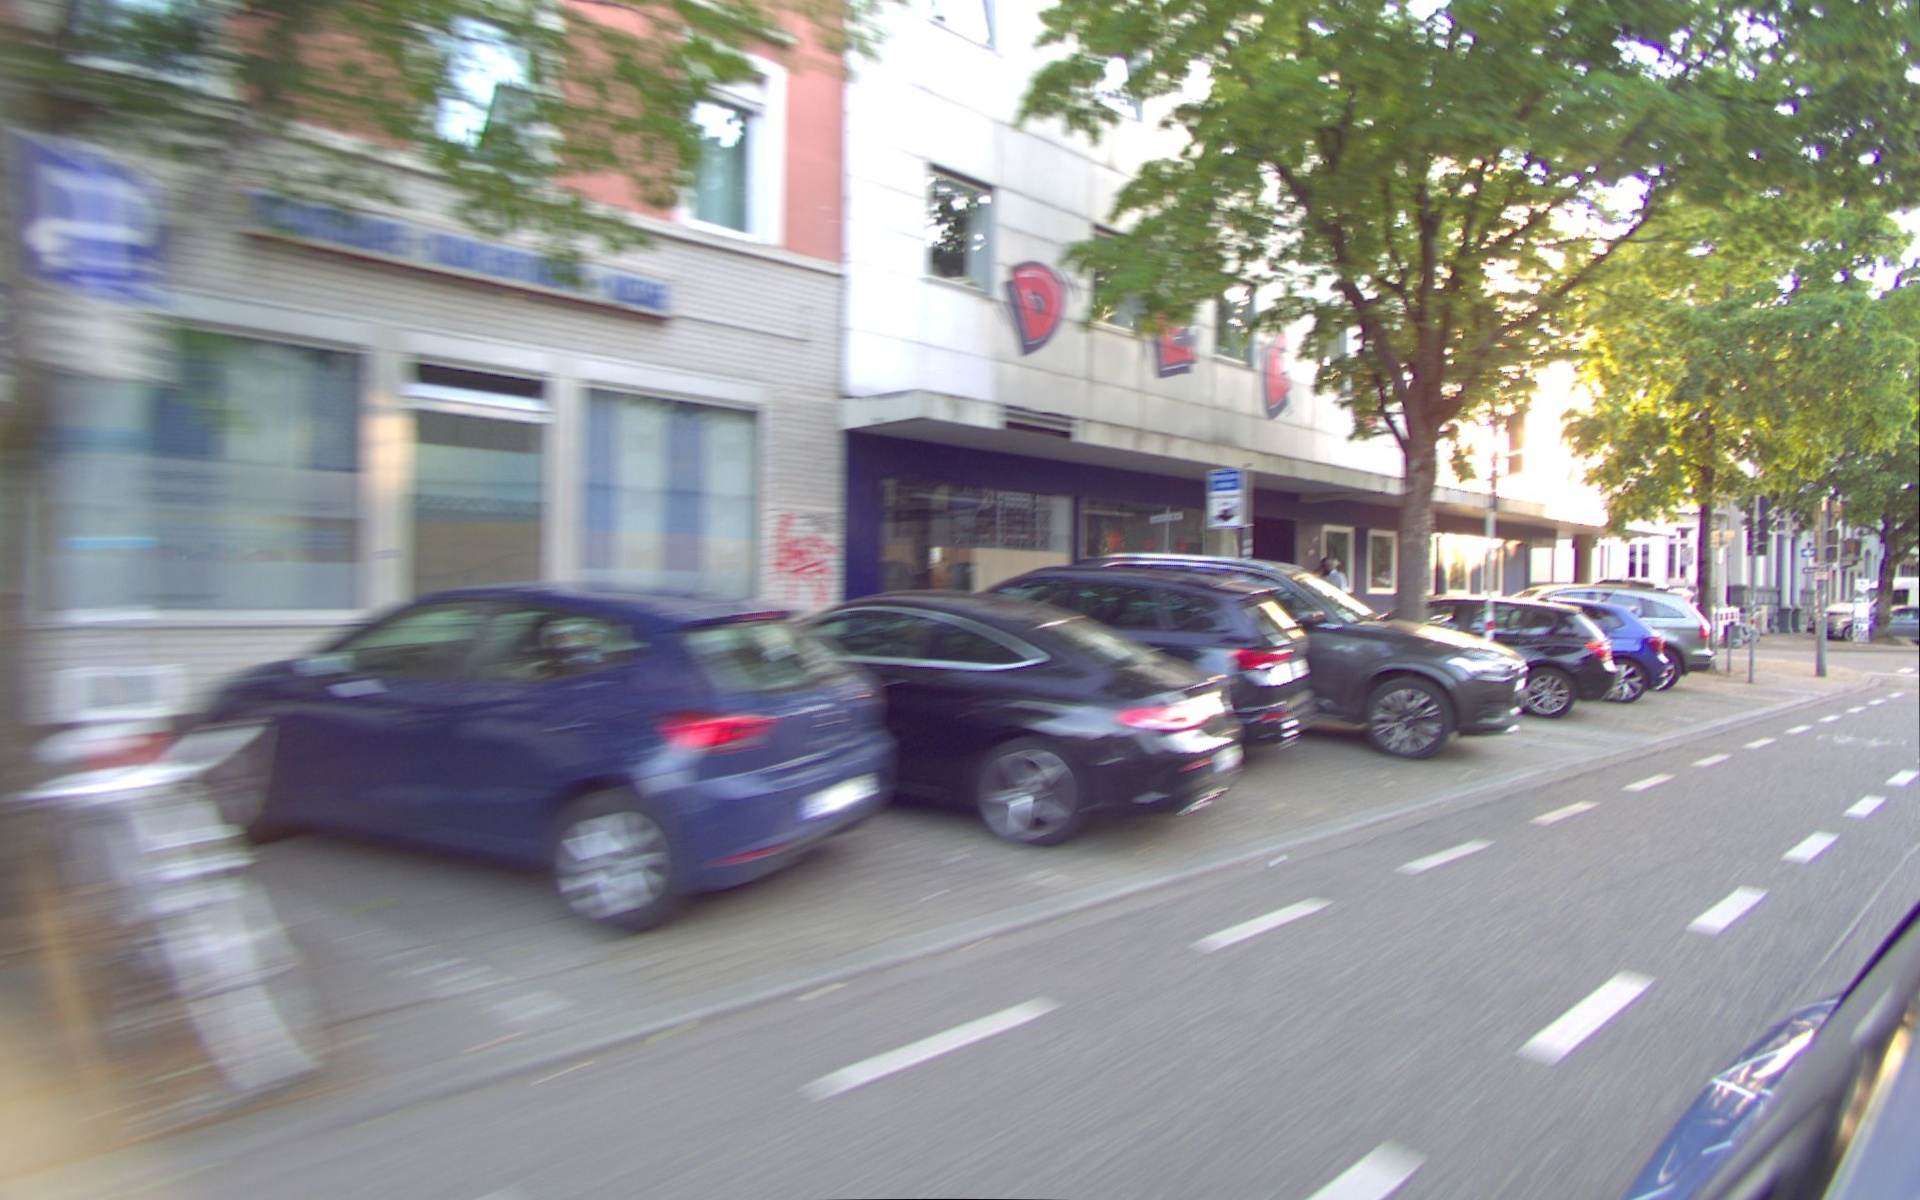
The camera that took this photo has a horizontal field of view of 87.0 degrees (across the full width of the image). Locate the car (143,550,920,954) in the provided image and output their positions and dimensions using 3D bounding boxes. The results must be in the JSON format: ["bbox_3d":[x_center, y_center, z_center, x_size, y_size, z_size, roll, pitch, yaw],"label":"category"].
[{"bbox_3d":[-2.273,0.549,5.478,3.714,1.444,1.716,4,3,21],"label":"car"}]

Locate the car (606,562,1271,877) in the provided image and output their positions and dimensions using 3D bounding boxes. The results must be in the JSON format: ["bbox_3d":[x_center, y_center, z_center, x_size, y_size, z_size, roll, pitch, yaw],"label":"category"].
[{"bbox_3d":[-0.140,0.573,7.064,4.180,1.444,1.961,4,3,24],"label":"car"}]

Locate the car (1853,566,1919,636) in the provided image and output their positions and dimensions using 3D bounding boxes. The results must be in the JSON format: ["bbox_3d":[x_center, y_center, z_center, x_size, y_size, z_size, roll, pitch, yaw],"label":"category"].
[{"bbox_3d":[39.074,0.069,39.735,5.561,2.728,2.161,1,0,16],"label":"car"}]

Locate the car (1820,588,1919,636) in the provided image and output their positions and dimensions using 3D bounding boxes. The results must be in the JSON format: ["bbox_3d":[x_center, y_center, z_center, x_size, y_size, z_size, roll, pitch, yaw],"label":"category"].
[{"bbox_3d":[33.893,0.484,36.021,4.560,1.532,1.847,4,1,25],"label":"car"}]

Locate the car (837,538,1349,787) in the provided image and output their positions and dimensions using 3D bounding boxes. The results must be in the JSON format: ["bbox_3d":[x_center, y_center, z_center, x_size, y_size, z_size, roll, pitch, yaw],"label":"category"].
[{"bbox_3d":[1.139,0.370,9.302,4.196,1.669,1.953,4,3,33],"label":"car"}]

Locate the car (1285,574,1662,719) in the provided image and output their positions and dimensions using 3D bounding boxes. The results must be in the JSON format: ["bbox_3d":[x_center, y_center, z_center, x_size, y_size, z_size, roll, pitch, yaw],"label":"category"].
[{"bbox_3d":[6.613,0.500,13.526,4.121,1.482,1.957,4,3,23],"label":"car"}]

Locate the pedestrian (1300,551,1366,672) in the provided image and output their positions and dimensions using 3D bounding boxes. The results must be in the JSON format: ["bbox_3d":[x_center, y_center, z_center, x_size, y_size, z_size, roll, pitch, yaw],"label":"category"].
[{"bbox_3d":[6.437,0.178,17.465,0.772,2.009,0.693,1,3,-40],"label":"pedestrian"}]

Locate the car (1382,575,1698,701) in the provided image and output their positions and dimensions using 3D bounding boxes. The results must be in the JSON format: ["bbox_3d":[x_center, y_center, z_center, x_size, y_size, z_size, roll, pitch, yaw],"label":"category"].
[{"bbox_3d":[8.665,0.492,15.545,3.847,1.520,1.802,4,3,20],"label":"car"}]

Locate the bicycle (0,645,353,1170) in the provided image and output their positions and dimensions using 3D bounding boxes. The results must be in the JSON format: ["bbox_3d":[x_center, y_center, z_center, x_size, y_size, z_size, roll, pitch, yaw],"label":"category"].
[{"bbox_3d":[-2.633,0.800,3.262,1.831,1.116,0.491,5,3,37],"label":"bicycle"}]

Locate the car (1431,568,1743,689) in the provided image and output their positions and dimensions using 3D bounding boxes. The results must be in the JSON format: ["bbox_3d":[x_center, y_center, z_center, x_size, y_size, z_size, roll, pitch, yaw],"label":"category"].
[{"bbox_3d":[10.561,0.407,17.423,4.111,1.684,1.833,4,3,16],"label":"car"}]

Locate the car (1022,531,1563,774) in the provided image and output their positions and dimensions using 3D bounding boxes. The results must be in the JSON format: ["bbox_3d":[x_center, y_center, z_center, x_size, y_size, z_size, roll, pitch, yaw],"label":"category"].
[{"bbox_3d":[3.356,0.329,10.575,4.945,1.848,2.183,4,3,33],"label":"car"}]
